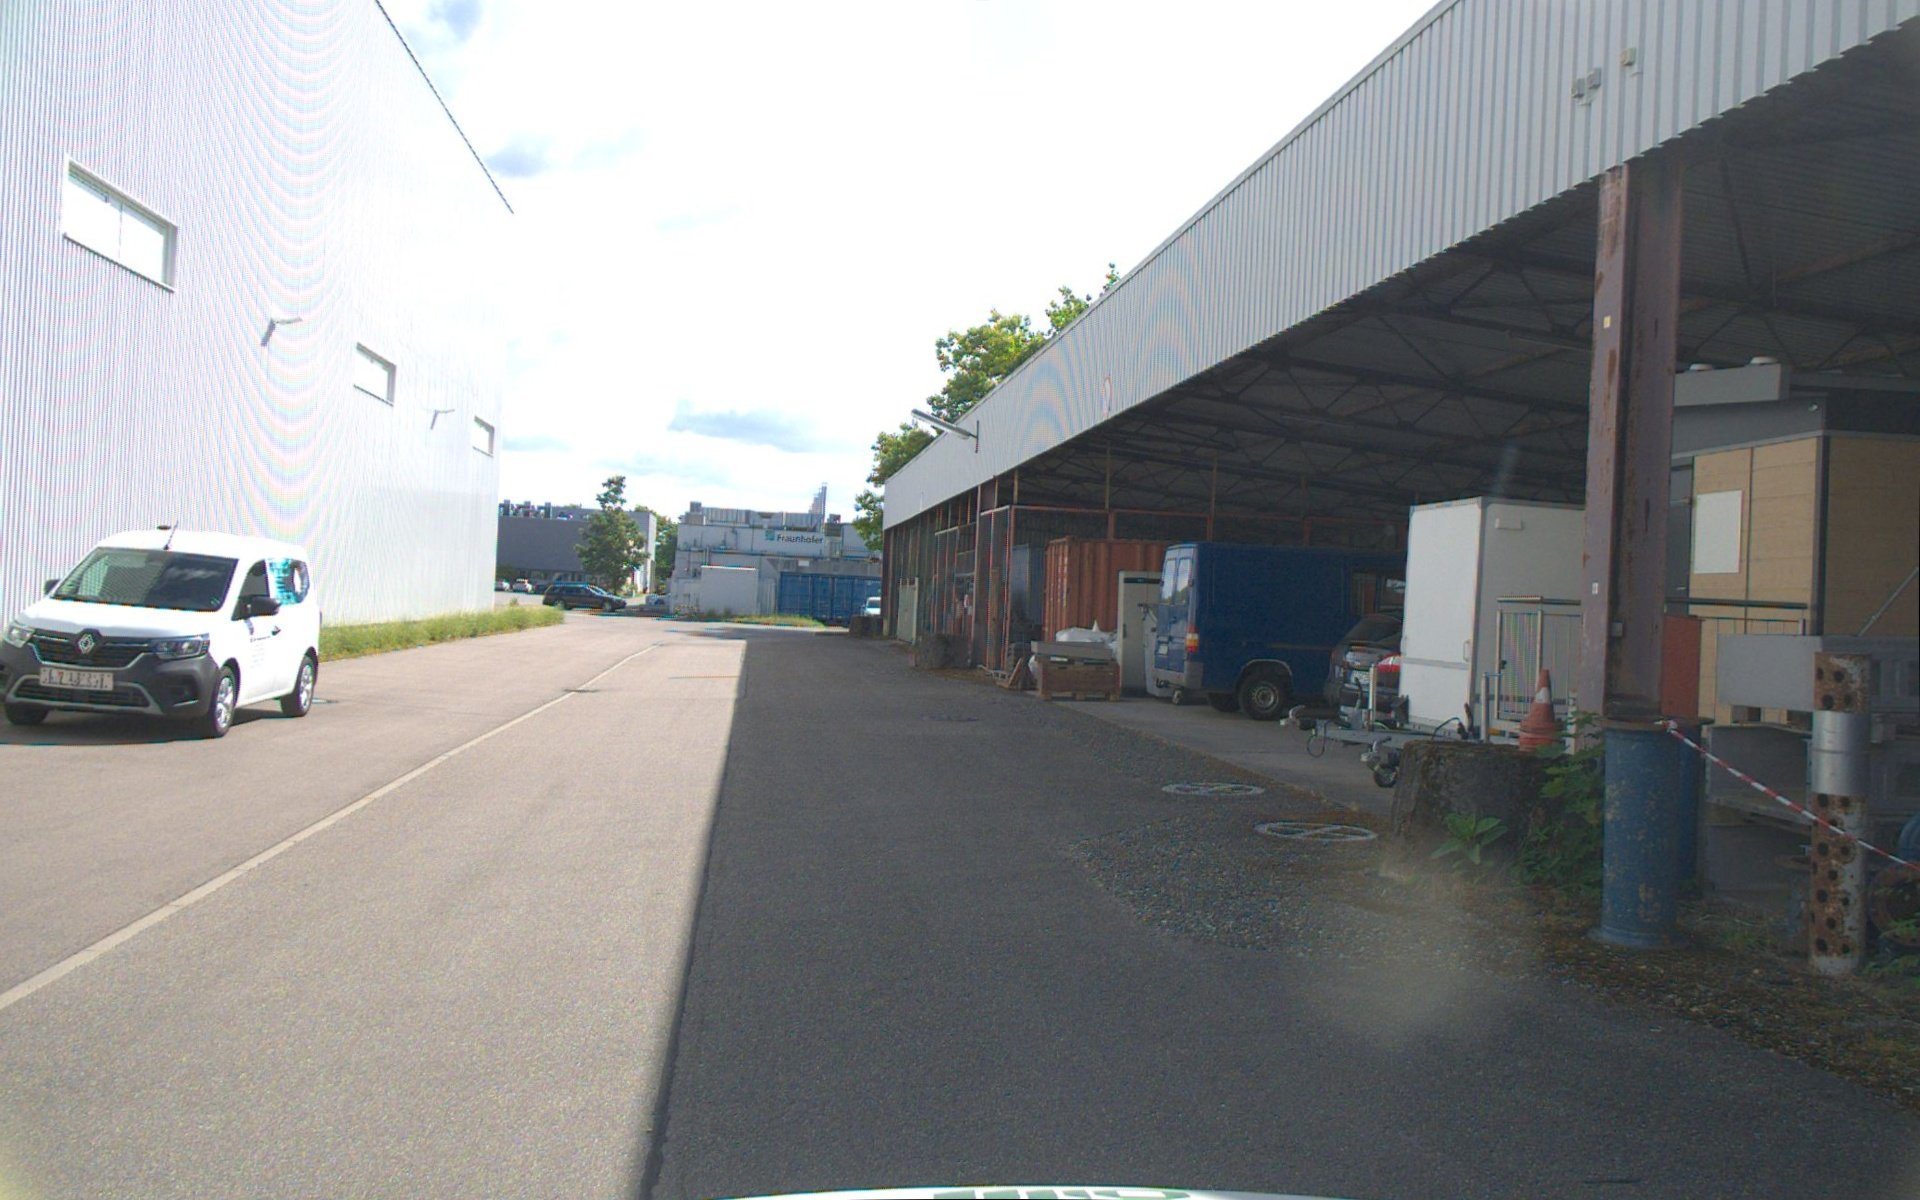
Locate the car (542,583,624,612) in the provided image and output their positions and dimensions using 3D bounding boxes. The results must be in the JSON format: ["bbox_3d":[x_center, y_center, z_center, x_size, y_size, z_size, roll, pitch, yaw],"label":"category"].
[{"bbox_3d":[-22.042,-0.126,96.784,4.444,1.468,1.984,3,-2,-8],"label":"car"}]

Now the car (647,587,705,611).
[{"bbox_3d":[-21.401,-0.060,124.846,4.198,1.596,1.984,3,-2,-8],"label":"car"}]

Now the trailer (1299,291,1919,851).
[{"bbox_3d":[7.758,-0.088,11.866,10.097,3.353,2.671,1,0,-7],"label":"trailer"}]

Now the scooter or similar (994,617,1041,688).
[{"bbox_3d":[0.966,0.877,28.210,0.510,1.154,1.589,2,-1,-8],"label":"scooter or similar"}]

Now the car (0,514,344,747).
[{"bbox_3d":[-7.561,0.240,15.967,1.892,1.821,4.590,4,0,-7],"label":"car"}]

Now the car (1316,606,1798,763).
[{"bbox_3d":[5.984,0.834,16.778,4.266,1.458,1.860,1,0,-11],"label":"car"}]

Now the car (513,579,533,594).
[{"bbox_3d":[-50.394,-1.549,190.610,1.843,1.564,4.026,1,0,-10],"label":"car"}]

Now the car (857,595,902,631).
[{"bbox_3d":[-4.230,0.645,86.590,1.944,1.621,4.333,3,1,-8],"label":"car"}]

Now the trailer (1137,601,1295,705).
[{"bbox_3d":[3.900,0.801,25.419,2.053,1.488,1.640,2,-1,-5],"label":"trailer"}]

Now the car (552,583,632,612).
[{"bbox_3d":[-22.227,-0.127,100.043,4.444,1.468,1.900,3,-2,-8],"label":"car"}]

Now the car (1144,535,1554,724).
[{"bbox_3d":[5.329,0.415,22.995,5.119,2.337,2.080,2,-1,-9],"label":"car"}]

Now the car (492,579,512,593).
[{"bbox_3d":[-52.628,-1.591,190.072,1.843,1.564,4.026,1,0,-10],"label":"car"}]

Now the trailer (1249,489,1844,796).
[{"bbox_3d":[4.865,0.358,14.005,4.455,2.376,1.686,1,0,-7],"label":"trailer"}]

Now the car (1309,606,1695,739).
[{"bbox_3d":[6.457,0.845,19.927,4.030,1.479,1.847,1,0,-8],"label":"car"}]
